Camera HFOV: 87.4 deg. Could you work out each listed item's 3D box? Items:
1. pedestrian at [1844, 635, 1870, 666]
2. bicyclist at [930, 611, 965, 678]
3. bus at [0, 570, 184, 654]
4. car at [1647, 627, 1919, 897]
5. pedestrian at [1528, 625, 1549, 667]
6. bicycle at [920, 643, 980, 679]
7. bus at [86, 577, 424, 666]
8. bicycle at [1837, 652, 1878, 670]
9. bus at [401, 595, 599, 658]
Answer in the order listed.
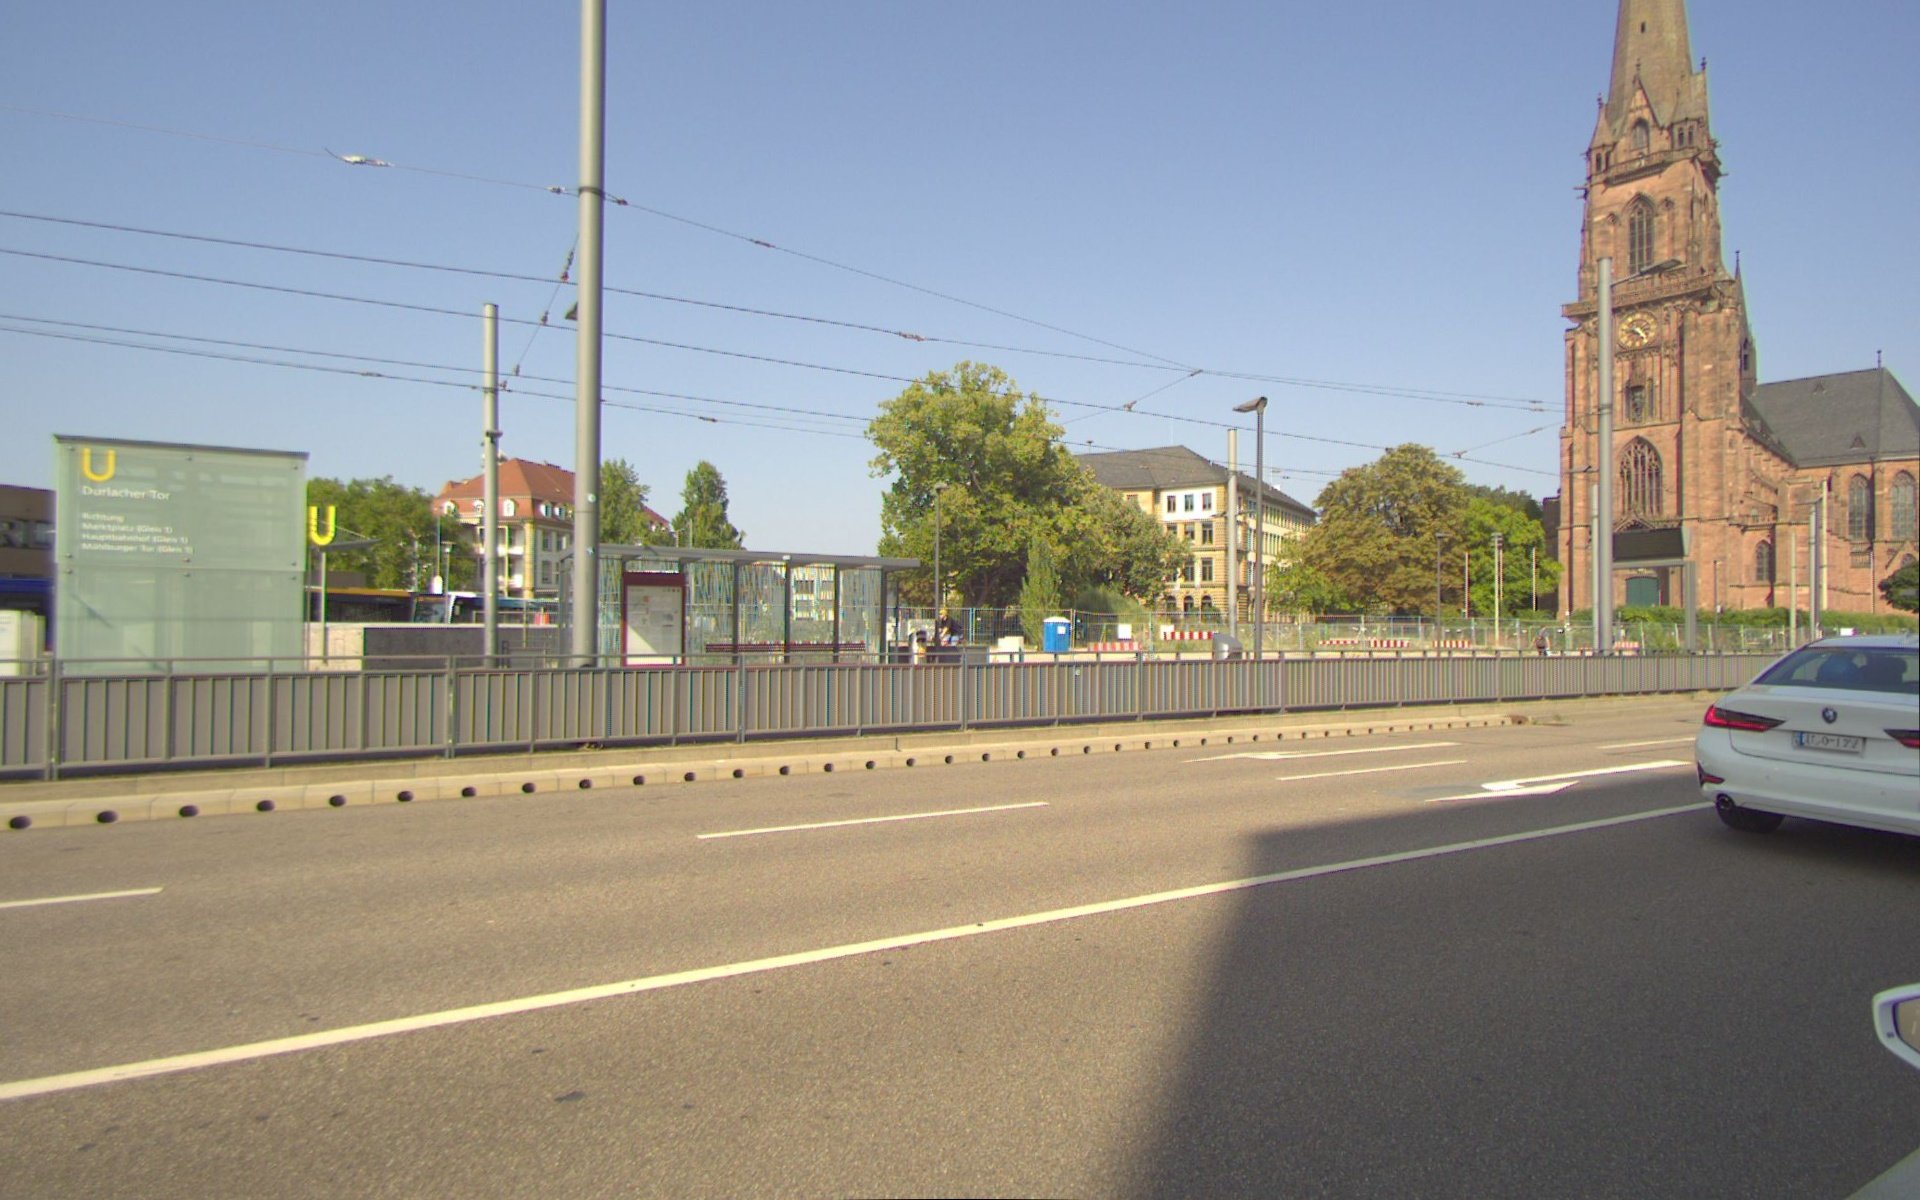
[{"bbox_3d":[51.338,2.881,57.480,0.592,1.701,0.916,1,-1,-17],"label":"pedestrian"},{"bbox_3d":[-0.334,1.188,27.022,0.809,1.770,0.484,1,-2,-30],"label":"bicyclist"},{"bbox_3d":[-40.621,0.531,42.438,3.160,3.464,13.326,0,-2,13],"label":"bus"},{"bbox_3d":[7.159,0.958,7.182,4.717,1.446,1.801,1,1,-29],"label":"car"},{"bbox_3d":[24.210,1.917,42.014,0.657,1.723,0.514,1,-1,-31],"label":"pedestrian"},{"bbox_3d":[-0.263,1.638,27.138,1.675,0.966,0.348,1,-2,-30],"label":"bicycle"},{"bbox_3d":[-29.424,0.982,43.415,3.159,3.220,13.326,0,-2,12],"label":"bus"},{"bbox_3d":[51.334,3.484,57.456,0.472,0.991,1.758,1,-2,-17],"label":"bicycle"},{"bbox_3d":[-26.085,1.553,58.262,3.159,3.220,13.326,0,-2,12],"label":"bus"}]
